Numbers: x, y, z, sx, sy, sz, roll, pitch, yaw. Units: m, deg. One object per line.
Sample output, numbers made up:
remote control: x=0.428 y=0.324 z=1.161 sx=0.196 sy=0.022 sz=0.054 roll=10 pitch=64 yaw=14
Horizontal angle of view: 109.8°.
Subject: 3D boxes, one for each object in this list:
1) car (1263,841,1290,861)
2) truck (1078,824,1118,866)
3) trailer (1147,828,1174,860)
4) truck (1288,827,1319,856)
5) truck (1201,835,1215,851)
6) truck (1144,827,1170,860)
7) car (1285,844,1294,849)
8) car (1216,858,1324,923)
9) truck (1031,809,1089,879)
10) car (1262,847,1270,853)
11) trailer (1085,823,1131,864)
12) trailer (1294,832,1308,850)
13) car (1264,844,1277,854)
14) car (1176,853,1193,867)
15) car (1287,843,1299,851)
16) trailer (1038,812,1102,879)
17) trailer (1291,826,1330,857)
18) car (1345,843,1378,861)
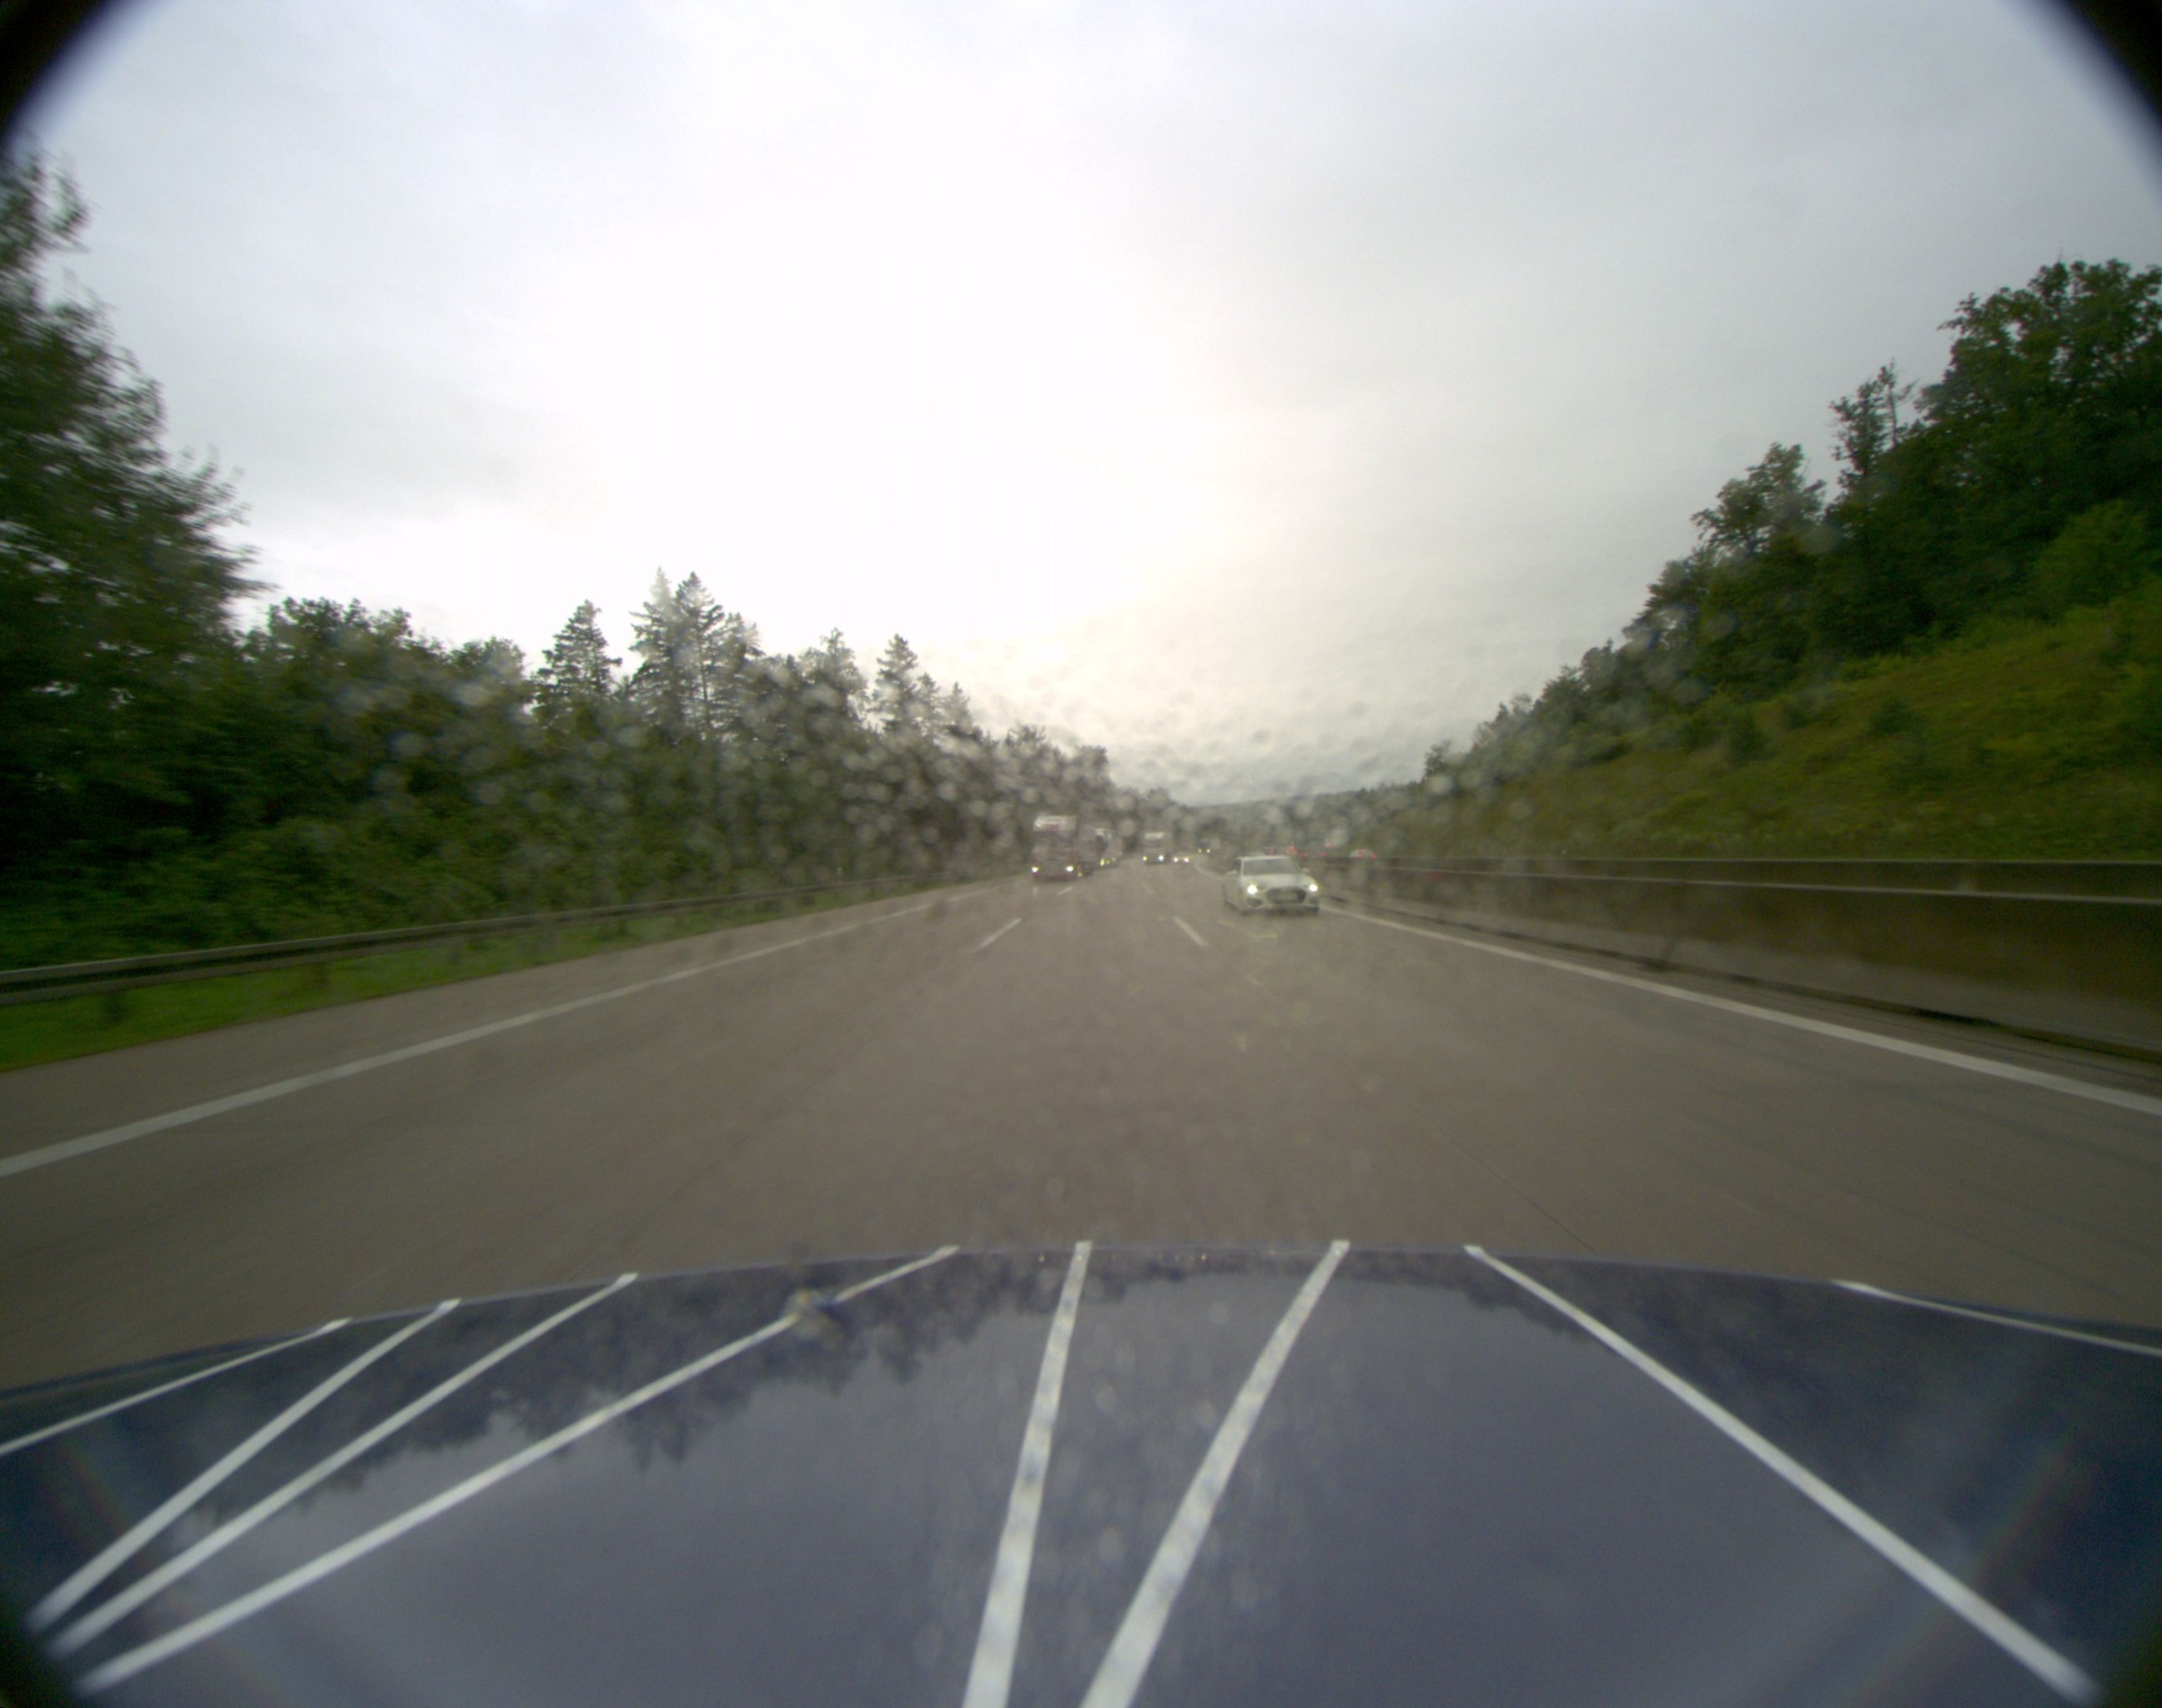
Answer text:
car: x=18.796 y=-0.307 z=73.325 sx=1.734 sy=1.766 sz=4.760 roll=-1 pitch=1 yaw=5
truck: x=1.798 y=-0.911 z=77.055 sx=2.803 sy=4.080 sz=5.972 roll=-1 pitch=1 yaw=12
trailer: x=11.167 y=-1.384 z=105.856 sx=2.684 sy=4.017 sz=13.714 roll=-3 pitch=0 yaw=10
truck: x=31.447 y=-1.695 z=107.805 sx=2.913 sy=3.866 sz=7.367 roll=-2 pitch=1 yaw=6
truck: x=34.008 y=-2.998 z=202.839 sx=2.734 sy=4.127 sz=8.630 roll=-2 pitch=0 yaw=15
truck: x=9.969 y=-1.302 z=98.714 sx=2.726 sy=4.017 sz=5.756 roll=-3 pitch=0 yaw=10
car: x=66.749 y=-2.461 z=242.930 sx=1.995 sy=1.576 sz=4.780 roll=-1 pitch=1 yaw=26
car: x=4.729 y=0.843 z=19.726 sx=1.716 sy=1.399 sz=4.936 roll=-2 pitch=0 yaw=2
truck: x=-1.193 y=-0.543 z=46.956 sx=2.379 sy=3.930 sz=6.164 roll=-3 pitch=-1 yaw=8
car: x=46.329 y=-1.106 z=190.132 sx=1.733 sy=1.484 sz=4.004 roll=-1 pitch=1 yaw=14
trailer: x=3.193 y=-1.135 z=84.033 sx=2.739 sy=4.080 sz=13.692 roll=-1 pitch=1 yaw=11
trailer: x=51.769 y=-3.003 z=178.760 sx=2.931 sy=3.938 sz=13.478 roll=-1 pitch=1 yaw=15
car: x=34.104 y=-0.876 z=137.066 sx=1.734 sy=1.766 sz=4.761 roll=-1 pitch=1 yaw=7
car: x=12.303 y=0.709 z=90.680 sx=1.849 sy=1.474 sz=4.451 roll=-2 pitch=0 yaw=6
car: x=40.935 y=-1.403 z=147.050 sx=1.734 sy=1.484 sz=4.002 roll=-1 pitch=1 yaw=9
trailer: x=-0.491 y=-0.512 z=52.243 sx=2.375 sy=3.930 sz=12.528 roll=-4 pitch=-1 yaw=7
trailer: x=30.826 y=-1.653 z=102.522 sx=2.913 sy=3.866 sz=11.040 roll=-2 pitch=0 yaw=7
car: x=25.532 y=-0.172 z=69.268 sx=1.734 sy=1.567 sz=4.245 roll=-1 pitch=1 yaw=5
